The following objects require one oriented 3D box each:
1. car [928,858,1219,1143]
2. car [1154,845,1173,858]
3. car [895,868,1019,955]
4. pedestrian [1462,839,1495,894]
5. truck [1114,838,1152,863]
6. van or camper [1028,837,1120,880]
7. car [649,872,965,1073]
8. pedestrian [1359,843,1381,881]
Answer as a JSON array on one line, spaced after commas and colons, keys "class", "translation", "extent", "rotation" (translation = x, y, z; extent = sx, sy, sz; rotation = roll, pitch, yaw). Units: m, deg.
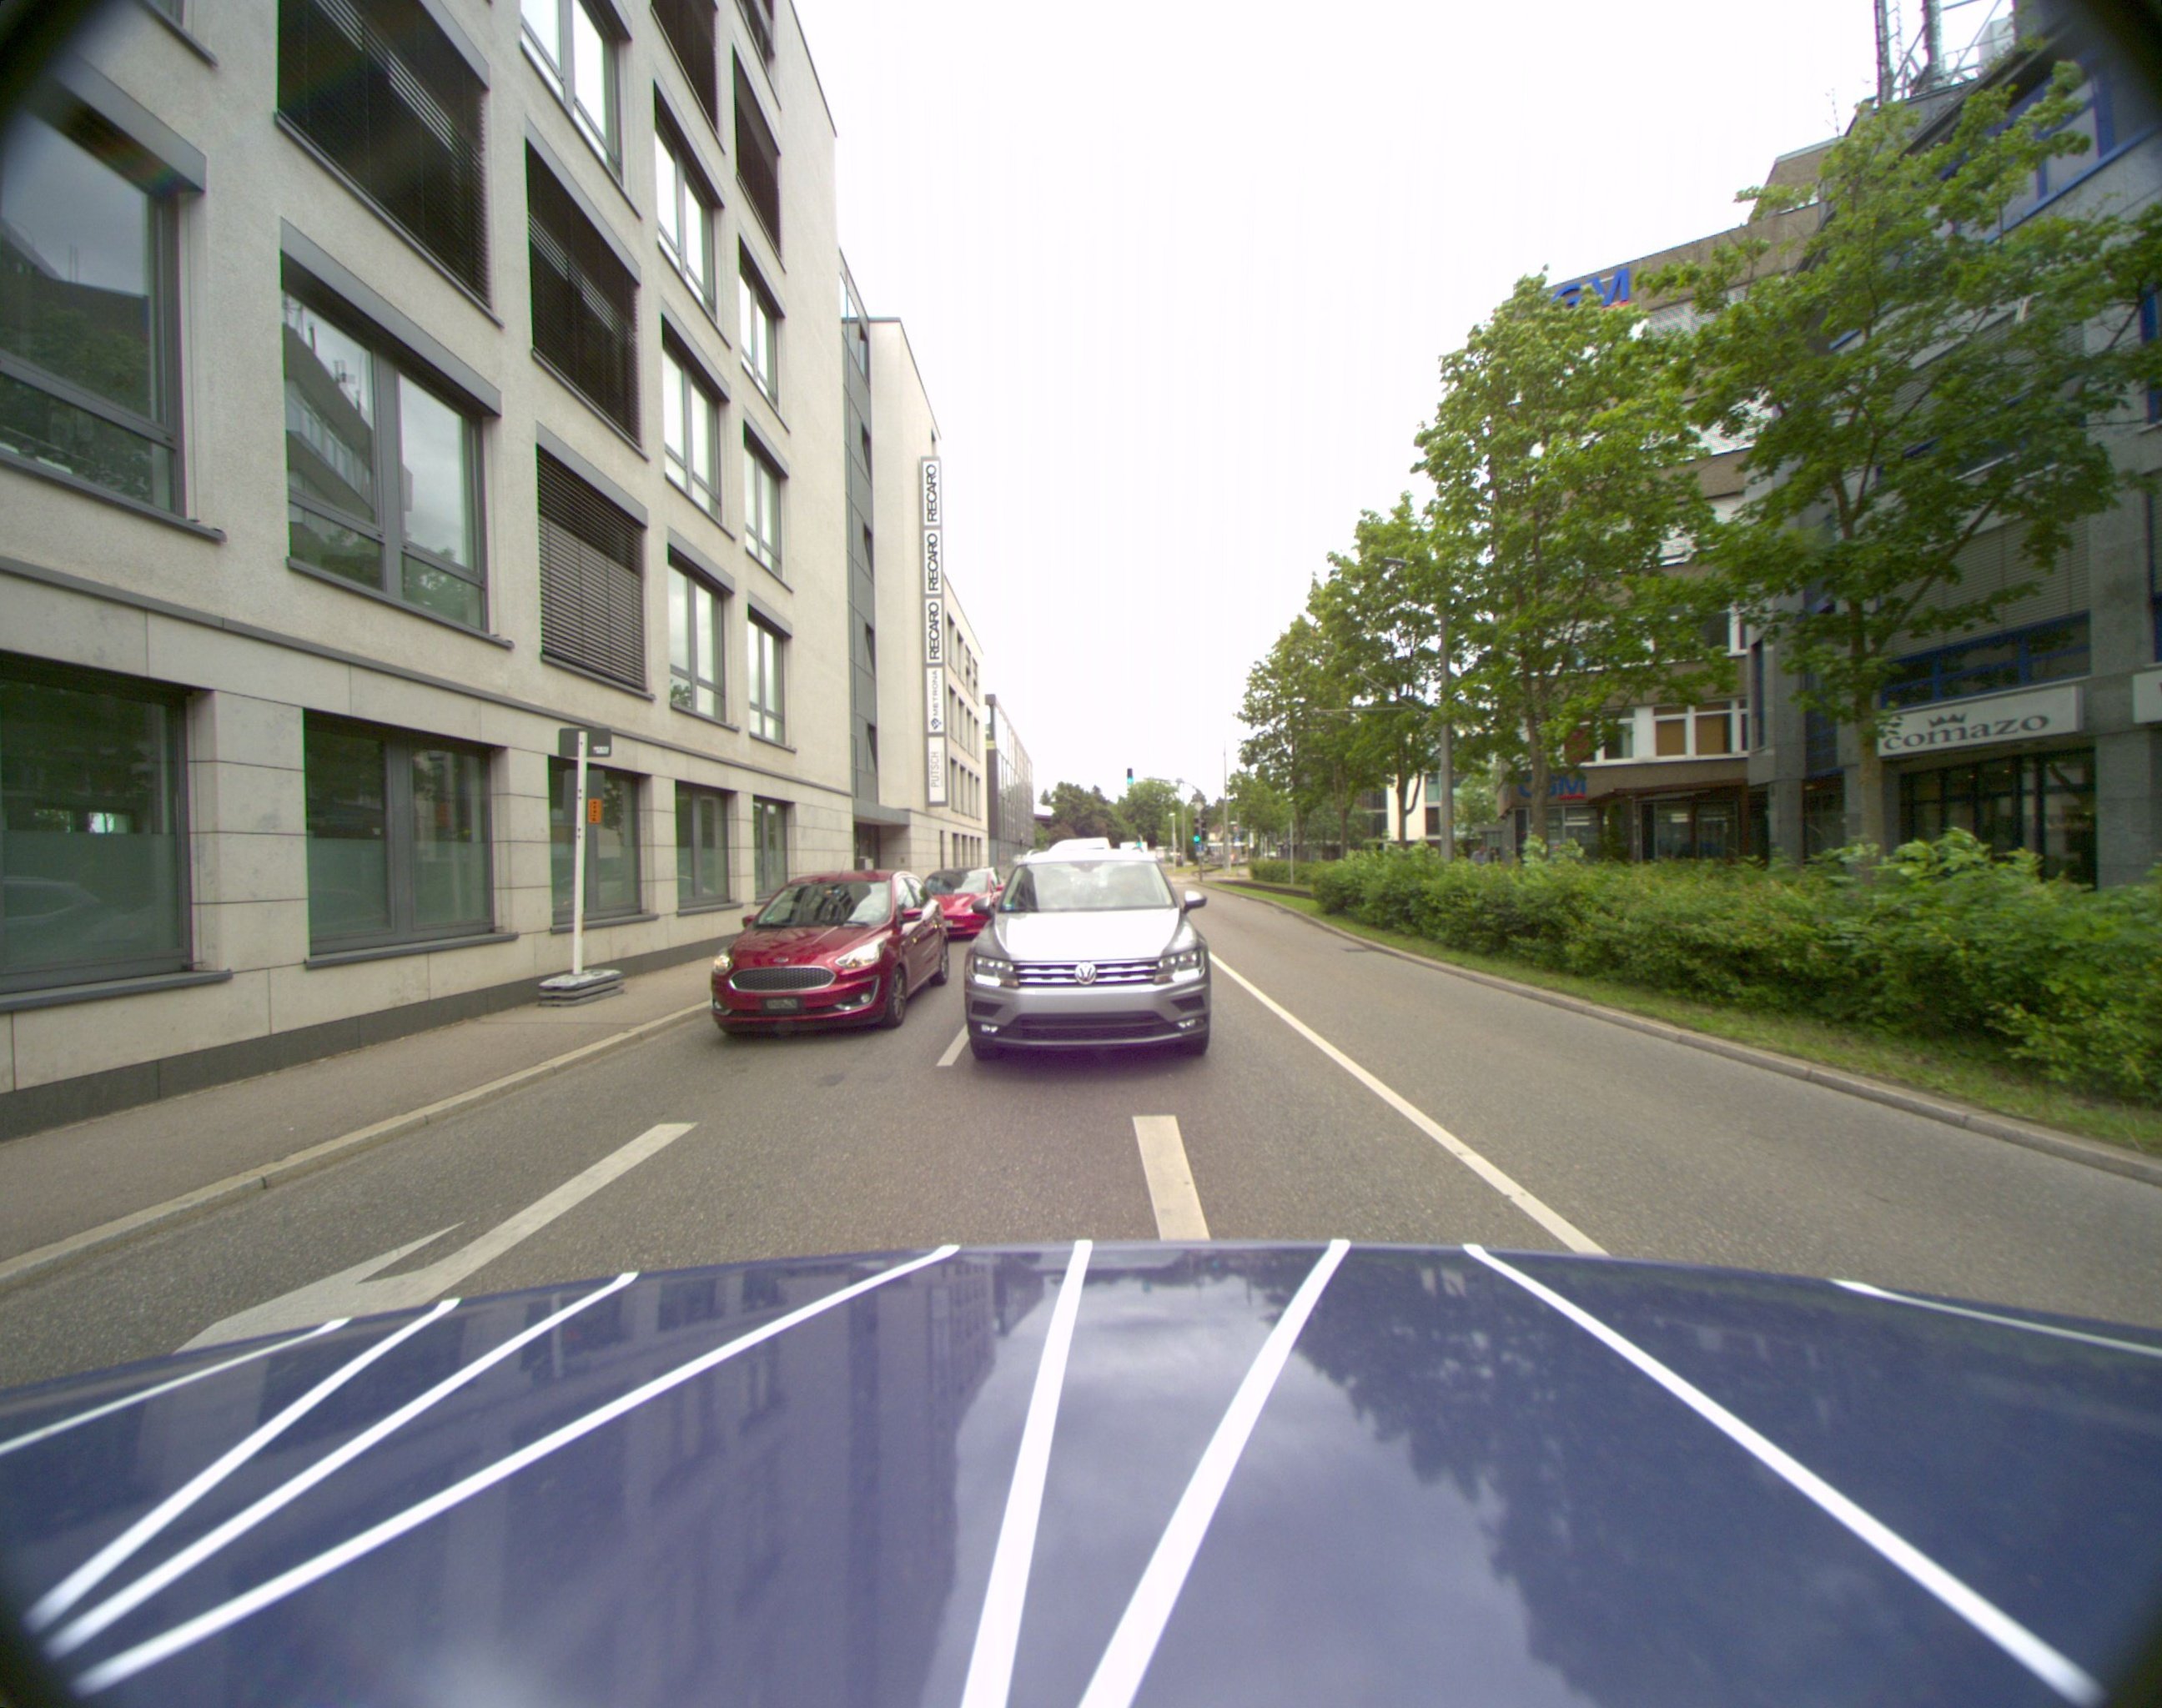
[{"class": "car", "translation": [-0.013, 0.939, 7.009], "extent": [1.798, 1.716, 4.458], "rotation": [-1, 0, 1]}, {"class": "car", "translation": [13.931, -0.375, 127.973], "extent": [1.995, 2.002, 4.006], "rotation": [-1, 1, 24]}, {"class": "car", "translation": [-2.486, 1.107, 16.319], "extent": [1.825, 1.449, 4.408], "rotation": [-3, 0, 1]}, {"class": "pedestrian", "translation": [13.312, 0.416, 25.464], "extent": [0.680, 1.795, 0.731], "rotation": [-2, 1, -4]}, {"class": "truck", "translation": [8.056, -0.618, 116.580], "extent": [2.317, 3.626, 8.024], "rotation": [-1, 1, 31]}, {"class": "van or camper", "translation": [-0.453, 0.265, 53.364], "extent": [6.161, 2.718, 2.109], "rotation": [-2, 1, -30]}, {"class": "car", "translation": [-2.590, 1.042, 8.341], "extent": [1.890, 1.483, 4.000], "rotation": [-4, 0, 1]}, {"class": "pedestrian", "translation": [14.836, 0.411, 39.073], "extent": [0.816, 1.912, 0.731], "rotation": [-2, 1, 0]}]
